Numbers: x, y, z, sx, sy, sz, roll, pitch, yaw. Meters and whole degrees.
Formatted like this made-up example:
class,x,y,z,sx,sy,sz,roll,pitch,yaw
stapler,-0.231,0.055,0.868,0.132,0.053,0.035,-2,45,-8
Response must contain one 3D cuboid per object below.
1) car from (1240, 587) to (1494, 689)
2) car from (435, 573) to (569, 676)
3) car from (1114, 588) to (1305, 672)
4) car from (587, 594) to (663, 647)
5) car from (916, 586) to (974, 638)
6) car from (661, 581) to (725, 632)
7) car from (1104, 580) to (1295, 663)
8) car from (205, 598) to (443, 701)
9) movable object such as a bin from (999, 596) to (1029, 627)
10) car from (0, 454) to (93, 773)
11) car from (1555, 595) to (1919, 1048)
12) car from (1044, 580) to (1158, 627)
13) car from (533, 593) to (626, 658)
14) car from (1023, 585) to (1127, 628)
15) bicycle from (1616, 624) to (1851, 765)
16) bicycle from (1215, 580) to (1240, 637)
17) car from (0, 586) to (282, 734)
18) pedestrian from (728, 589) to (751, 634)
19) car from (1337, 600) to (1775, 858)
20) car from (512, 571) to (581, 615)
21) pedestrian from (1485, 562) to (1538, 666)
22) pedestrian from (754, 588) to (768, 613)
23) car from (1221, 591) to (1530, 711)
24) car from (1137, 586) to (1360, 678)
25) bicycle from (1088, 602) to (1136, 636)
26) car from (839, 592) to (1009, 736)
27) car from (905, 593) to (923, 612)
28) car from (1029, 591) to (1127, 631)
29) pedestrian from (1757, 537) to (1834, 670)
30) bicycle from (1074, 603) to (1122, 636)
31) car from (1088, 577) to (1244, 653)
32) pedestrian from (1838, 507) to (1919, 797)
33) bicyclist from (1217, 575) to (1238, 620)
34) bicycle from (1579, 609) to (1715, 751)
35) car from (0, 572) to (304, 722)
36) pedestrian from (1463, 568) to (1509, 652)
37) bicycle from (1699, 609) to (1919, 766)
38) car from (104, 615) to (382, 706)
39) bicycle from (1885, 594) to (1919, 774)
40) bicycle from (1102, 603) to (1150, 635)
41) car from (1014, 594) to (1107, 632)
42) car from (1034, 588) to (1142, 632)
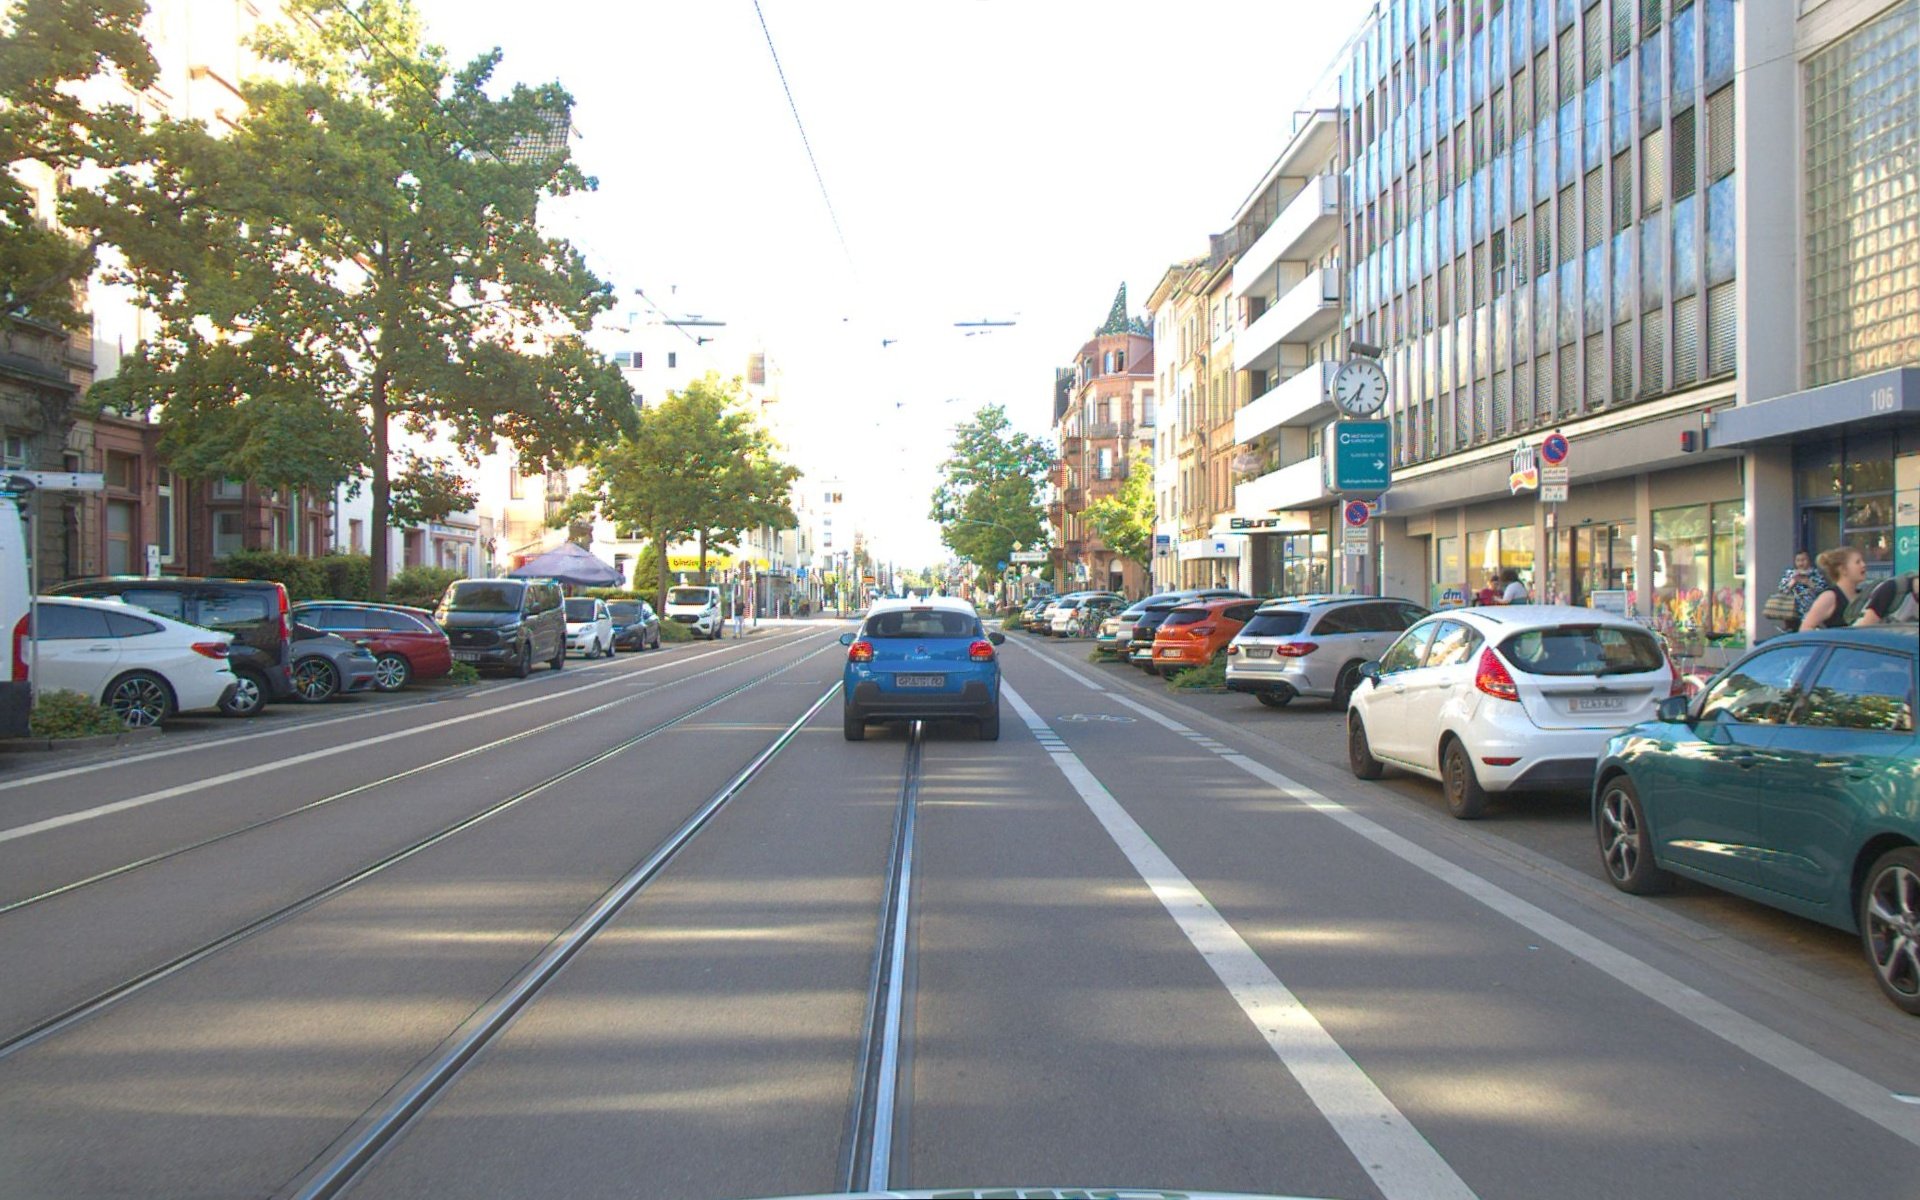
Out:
class,x,y,z,sx,sy,sz,roll,pitch,yaw
car,6.459,0.580,26.203,3.735,1.513,1.819,1,0,-31
car,-9.626,0.487,35.178,1.713,2.008,5.236,1,0,-4
car,4.930,0.574,32.619,3.409,1.582,1.804,1,0,-33
car,-10.022,0.603,49.683,1.713,1.513,4.039,1,0,-4
car,-0.490,0.382,54.500,1.835,1.624,3.999,1,0,-1
car,-10.183,0.261,63.340,1.794,1.880,4.213,1,0,-1
car,5.155,0.456,35.545,3.686,1.681,2.024,1,0,-34
car,-10.811,0.815,28.234,3.672,1.651,1.777,1,0,-22
movable object such as a bin,2.624,0.551,80.100,1.366,1.509,1.655,1,0,-1
car,-10.539,0.098,14.283,5.316,2.797,1.787,1,0,-31
car,4.346,0.807,7.488,1.835,1.624,3.999,1,0,-1
car,4.949,0.148,58.176,3.614,1.601,1.843,1,0,-30
car,-10.099,0.660,44.196,1.713,1.646,4.407,1,0,-4
car,4.474,0.255,64.280,3.600,1.601,1.850,1,0,-21
bicycle,7.278,0.867,15.665,1.978,1.243,0.664,0,0,22
bicycle,9.863,0.309,60.972,0.713,2.049,2.359,0,0,5
car,-10.619,0.670,19.399,4.713,1.646,1.692,1,0,-34
pedestrian,-8.599,0.460,64.567,0.720,1.756,0.623,1,-1,-25
car,4.238,0.826,12.494,1.835,1.624,3.999,1,0,-1
car,-14.626,-0.241,58.654,1.600,1.494,3.526,1,0,-1
pedestrian,9.629,0.241,28.886,0.678,1.787,0.678,0,0,-1
pedestrian,-13.876,0.042,115.181,0.926,1.782,0.699,1,0,-5
car,5.815,0.678,22.948,4.394,1.534,1.520,1,0,-31
car,5.225,0.555,29.843,3.686,1.547,1.945,1,0,-34
bicycle,5.010,0.621,54.495,0.549,1.066,1.785,1,0,-36
car,-0.407,0.663,18.728,1.726,1.466,3.556,1,0,-1
car,-3.657,0.184,131.629,1.394,1.457,3.138,1,0,-1
car,4.852,0.468,67.919,3.600,1.601,1.850,1,0,-21
pedestrian,11.742,0.054,23.255,0.705,1.837,0.726,0,0,-1
bicycle,4.497,0.637,54.128,0.549,1.066,1.785,1,0,-36
car,4.789,0.348,38.306,3.417,1.668,1.662,1,0,-38
pedestrian,5.857,0.311,10.041,0.697,1.701,0.654,1,0,-2
bicyclist,9.875,-0.097,60.967,0.717,1.651,0.529,0,-1,5
bicycle,6.112,0.687,14.779,0.679,1.206,1.238,1,0,-1
car,-10.866,0.591,21.892,3.939,1.848,1.698,1,0,-27
pedestrian,10.349,0.197,32.556,0.678,1.615,0.678,0,0,-1
bicycle,7.379,0.703,13.577,2.309,1.243,0.664,1,0,2
car,-10.826,0.883,25.070,3.751,1.287,1.503,1,0,-27
bicycle,7.611,0.589,11.530,1.978,1.243,0.663,1,0,-2
bicycle,5.496,0.622,54.883,0.549,1.066,1.785,1,0,-36
car,4.290,0.565,70.863,3.601,1.561,1.778,1,0,-21
car,4.746,0.382,61.426,3.600,1.601,1.850,1,0,-21
